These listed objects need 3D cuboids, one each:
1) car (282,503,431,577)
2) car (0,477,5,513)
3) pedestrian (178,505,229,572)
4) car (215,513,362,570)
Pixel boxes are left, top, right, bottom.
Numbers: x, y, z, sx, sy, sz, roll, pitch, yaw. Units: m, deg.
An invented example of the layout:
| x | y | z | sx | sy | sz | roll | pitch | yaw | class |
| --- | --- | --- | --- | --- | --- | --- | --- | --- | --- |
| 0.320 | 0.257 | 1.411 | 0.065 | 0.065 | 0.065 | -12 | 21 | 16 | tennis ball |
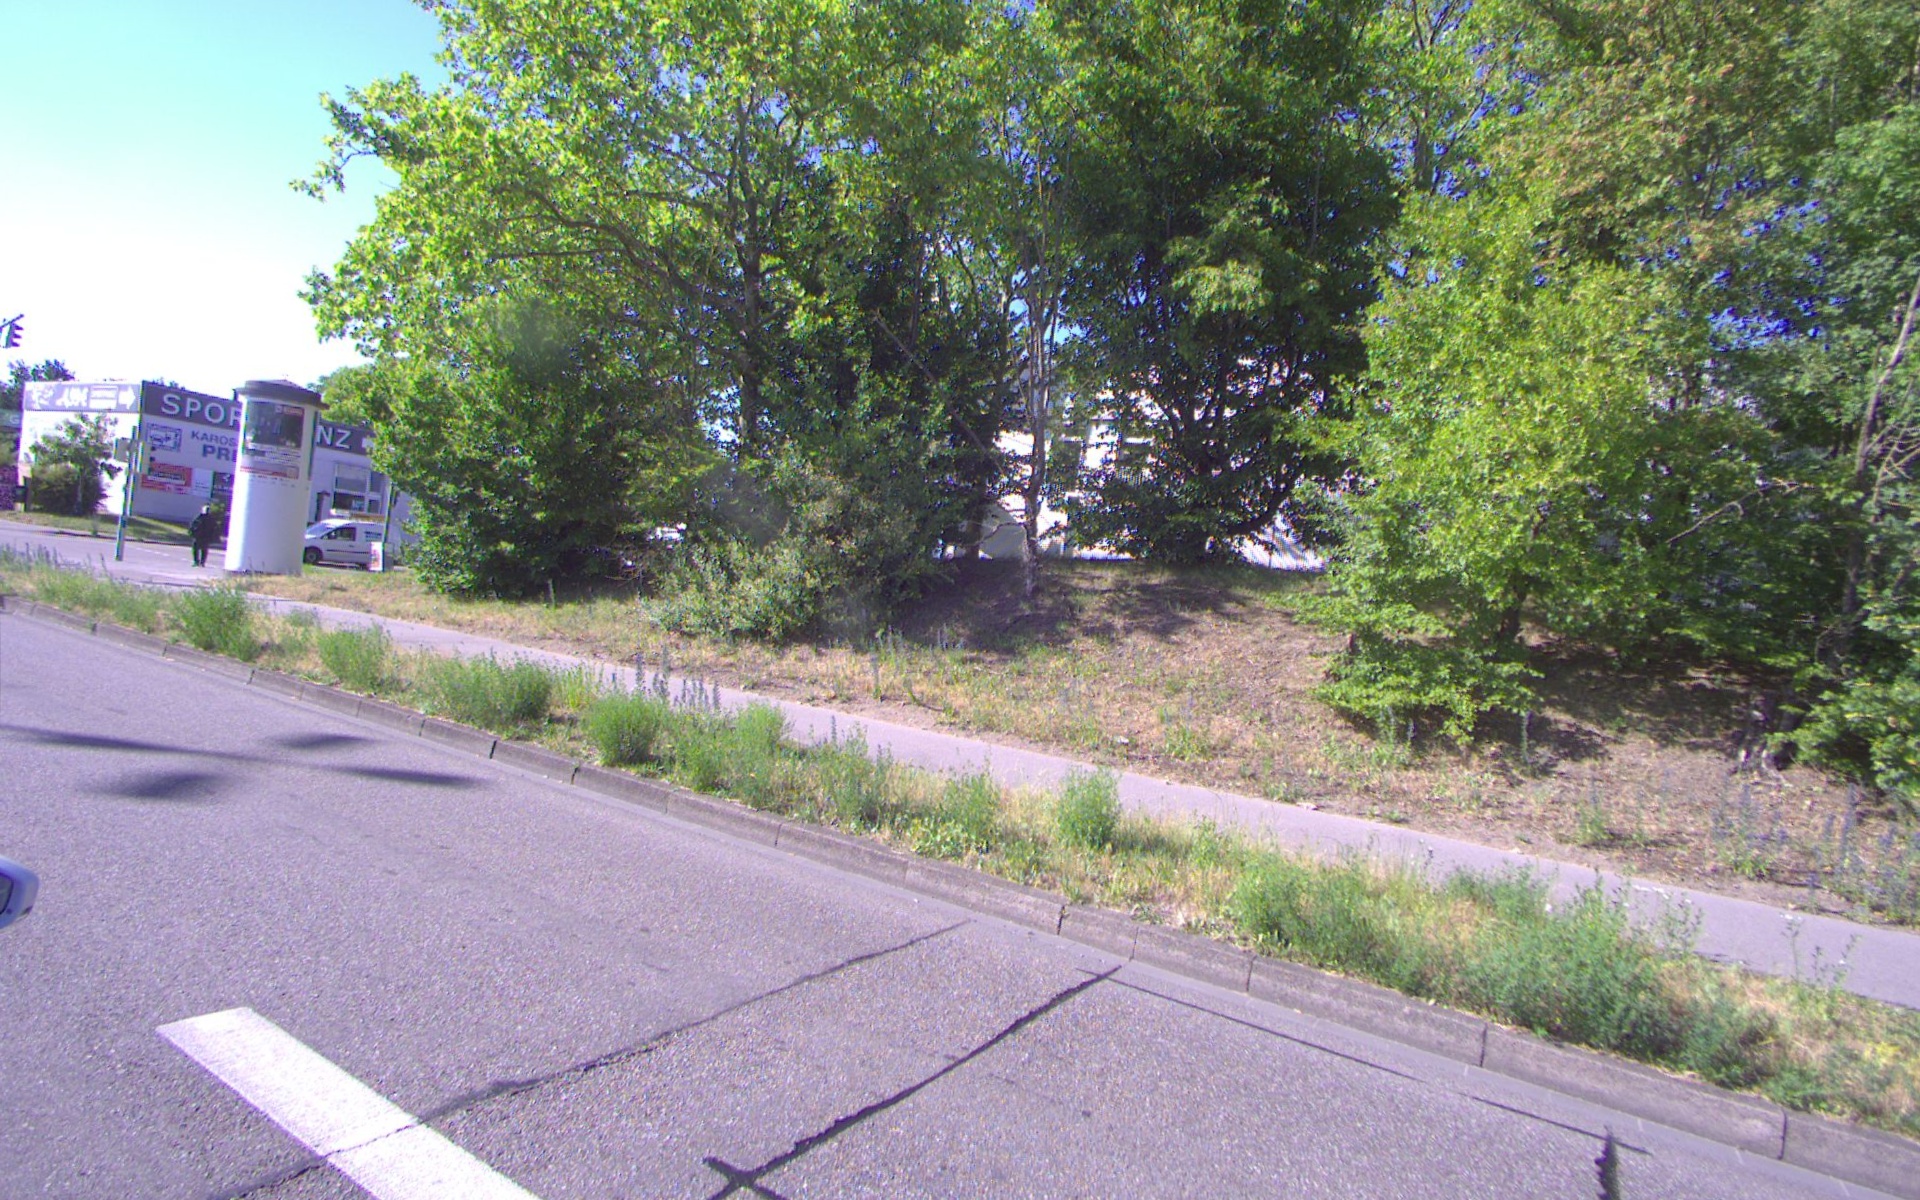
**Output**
| x | y | z | sx | sy | sz | roll | pitch | yaw | class |
| --- | --- | --- | --- | --- | --- | --- | --- | --- | --- |
| -23.394 | -2.292 | 39.180 | 1.965 | 2.171 | 4.415 | 7 | -1 | 28 | car |
| -48.294 | -5.348 | 47.690 | 1.663 | 1.726 | 4.003 | 7 | -1 | 16 | car |
| -21.176 | -1.717 | 28.159 | 0.841 | 1.743 | 0.822 | 7 | 0 | 39 | pedestrian |
| -26.836 | -2.287 | 40.352 | 1.965 | 1.571 | 4.415 | 7 | -1 | 28 | car |
